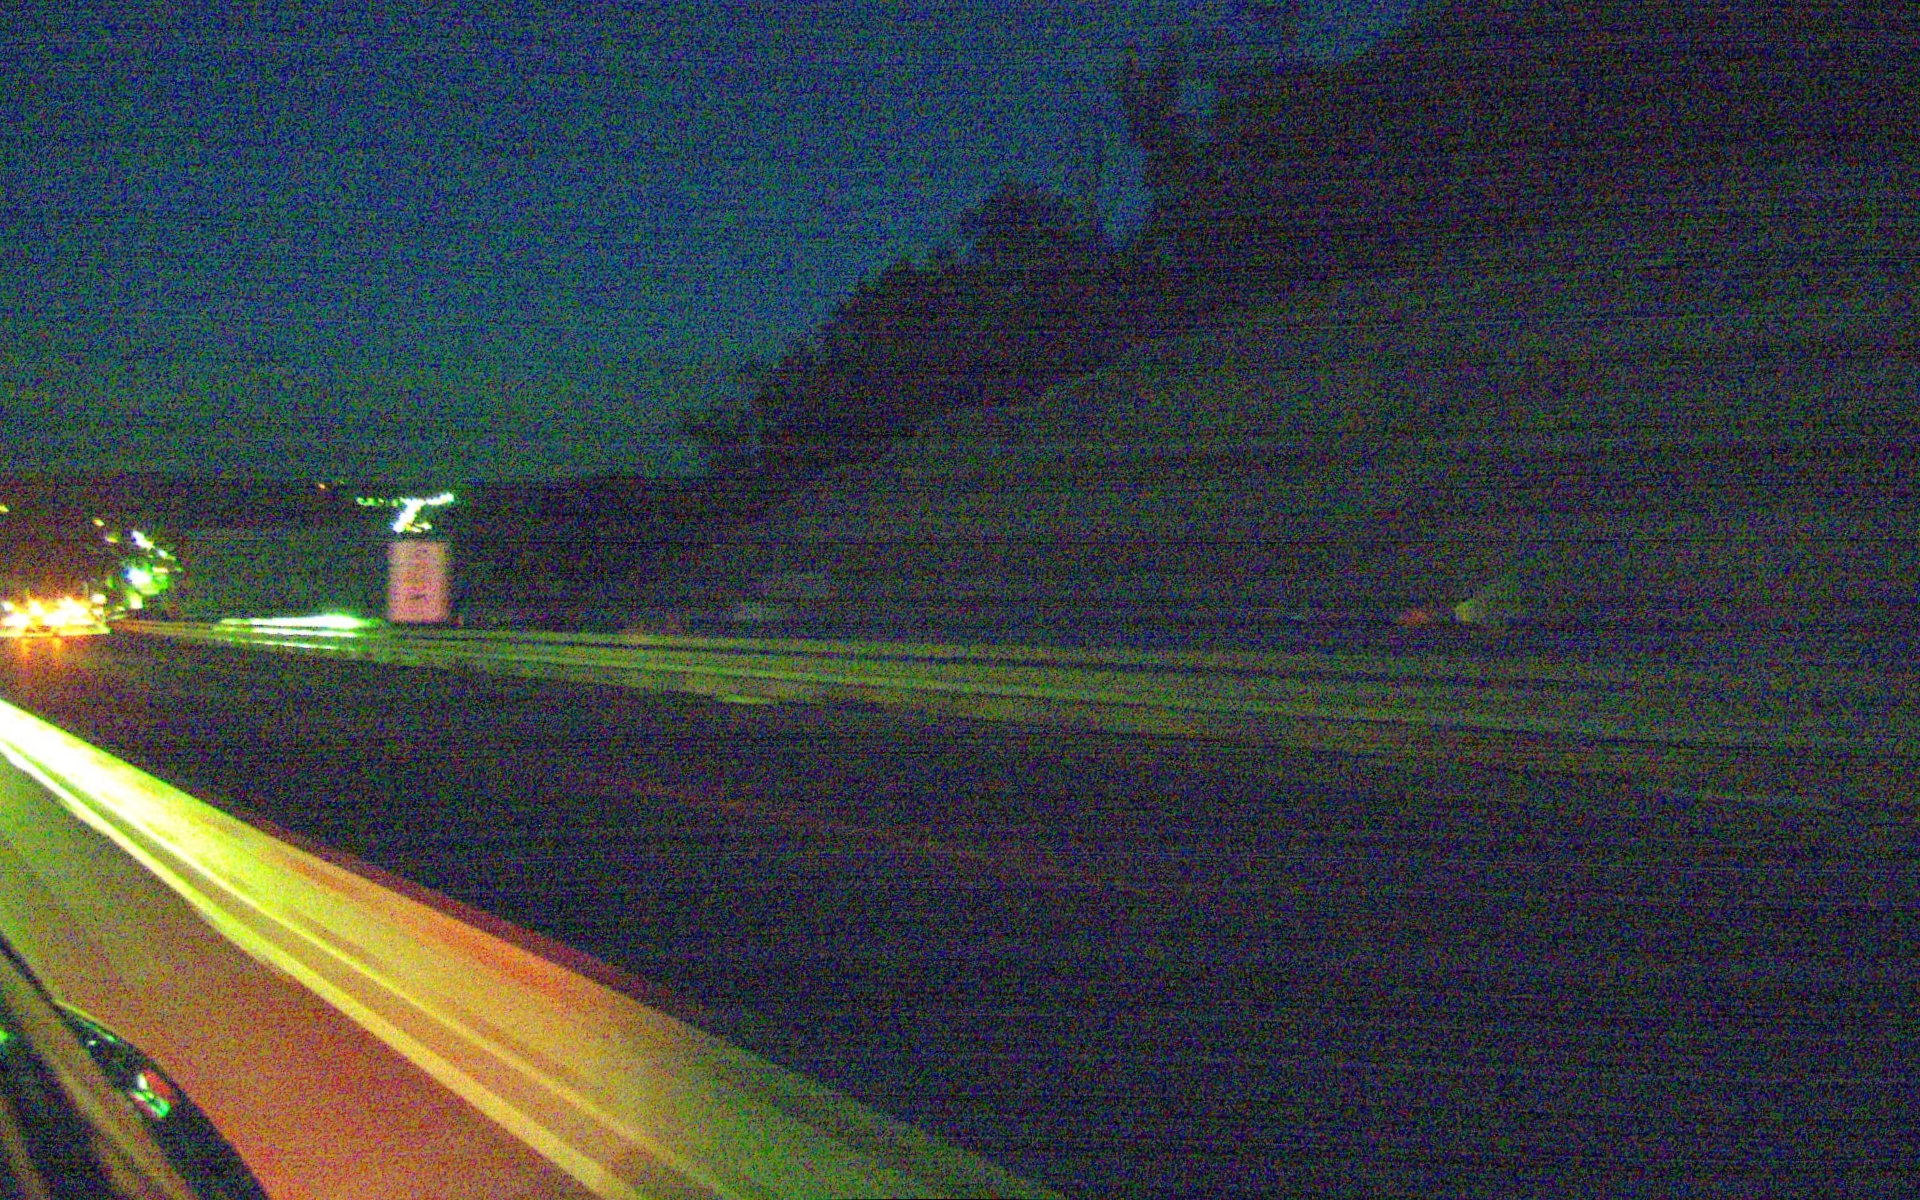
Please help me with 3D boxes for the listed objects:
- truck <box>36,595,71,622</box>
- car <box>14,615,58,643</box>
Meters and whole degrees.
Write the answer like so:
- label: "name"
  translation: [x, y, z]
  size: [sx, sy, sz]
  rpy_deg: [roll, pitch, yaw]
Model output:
- label: "truck"
  translation: [-87.951, 0.793, 98.242]
  size: [2.272, 2.493, 6.284]
  rpy_deg: [0, 1, -39]
- label: "car"
  translation: [-54.061, 1.727, 59.190]
  size: [1.787, 1.529, 3.938]
  rpy_deg: [-1, -2, -44]
